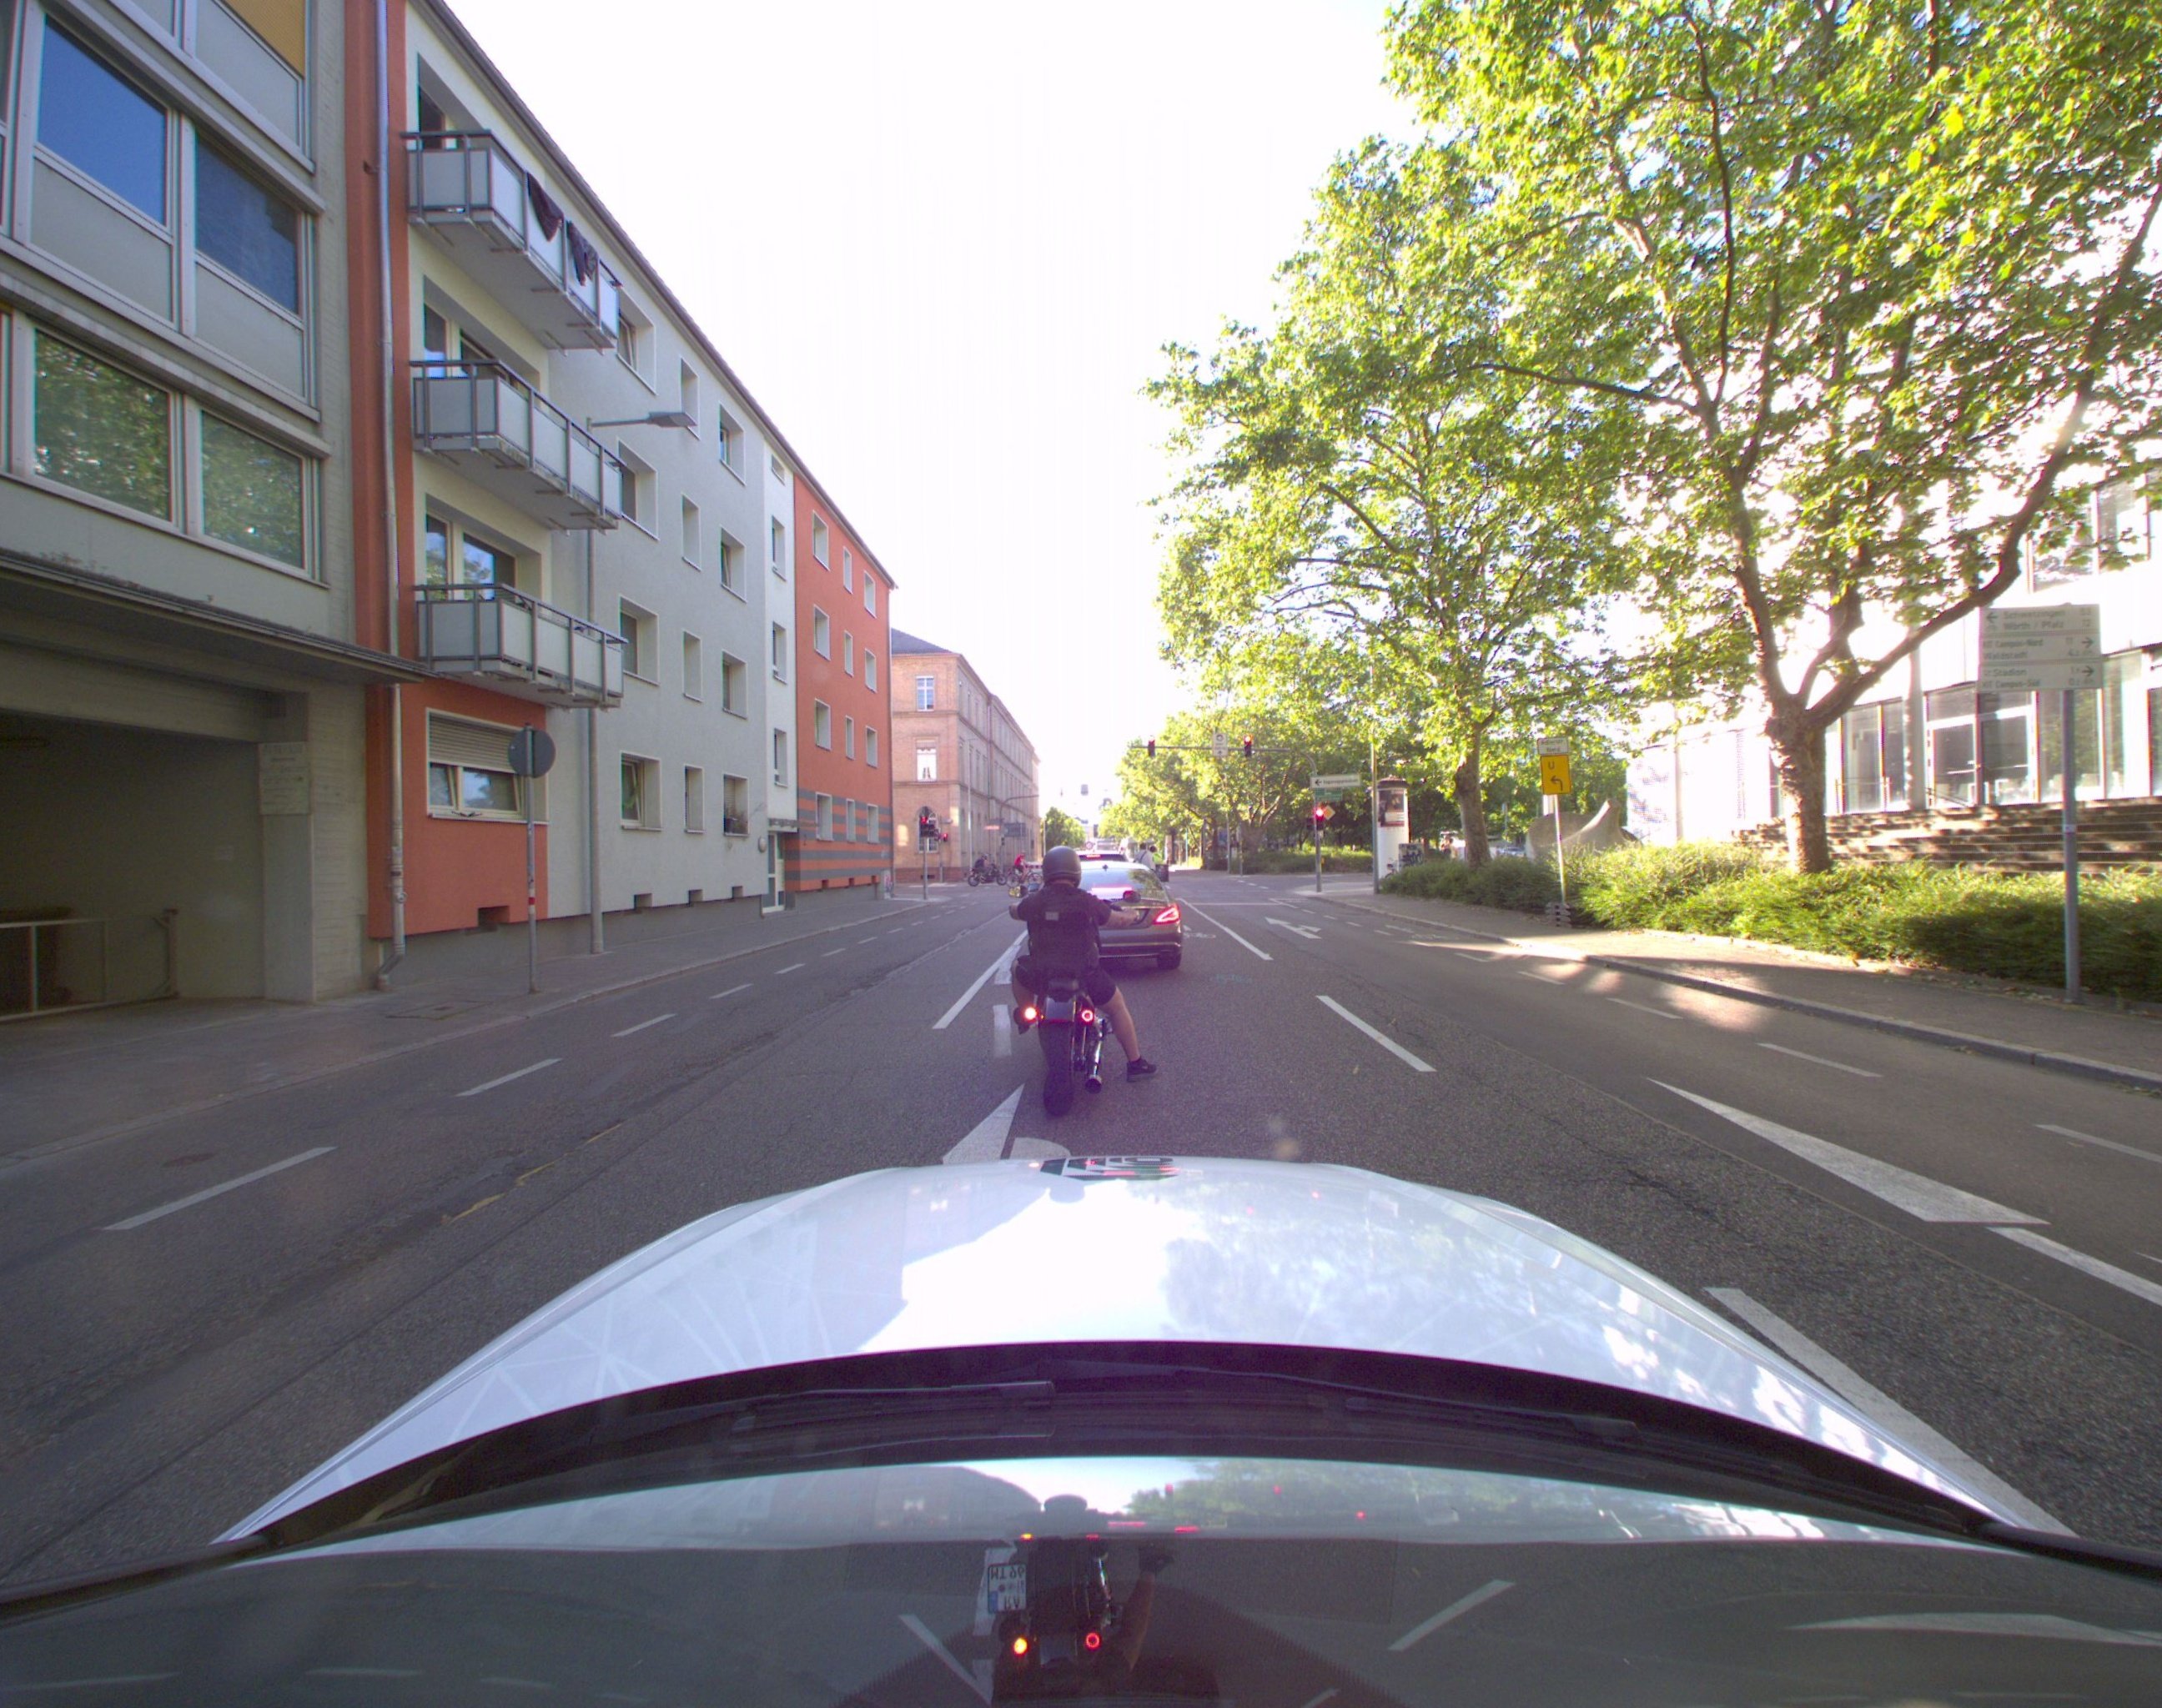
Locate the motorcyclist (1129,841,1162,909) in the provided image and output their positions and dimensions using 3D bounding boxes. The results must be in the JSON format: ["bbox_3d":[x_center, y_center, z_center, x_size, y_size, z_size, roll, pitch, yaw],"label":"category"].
[{"bbox_3d":[1.739,0.557,22.039,0.828,1.788,0.913,0,-1,1],"label":"motorcyclist"}]

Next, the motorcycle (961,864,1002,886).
[{"bbox_3d":[-5.103,1.076,41.868,2.080,1.097,0.626,0,-1,-10],"label":"motorcycle"}]

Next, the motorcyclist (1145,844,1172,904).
[{"bbox_3d":[2.299,0.589,24.227,0.714,1.743,0.751,0,-1,1],"label":"motorcyclist"}]

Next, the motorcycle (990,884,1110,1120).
[{"bbox_3d":[-0.138,0.859,5.546,0.657,1.240,2.058,0,-1,2],"label":"motorcycle"}]

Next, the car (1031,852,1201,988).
[{"bbox_3d":[0.264,0.749,11.249,1.821,1.486,4.325,0,-1,-5],"label":"car"}]

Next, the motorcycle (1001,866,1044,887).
[{"bbox_3d":[-2.767,1.063,38.711,2.004,0.962,0.581,0,-1,2],"label":"motorcycle"}]

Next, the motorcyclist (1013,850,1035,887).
[{"bbox_3d":[-2.712,0.679,38.719,0.981,1.722,0.551,0,-1,2],"label":"motorcyclist"}]

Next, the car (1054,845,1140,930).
[{"bbox_3d":[0.379,0.670,17.821,1.645,1.652,4.002,0,-1,2],"label":"car"}]

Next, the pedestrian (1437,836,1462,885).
[{"bbox_3d":[13.990,0.244,30.937,0.645,1.827,0.667,-1,0,1],"label":"pedestrian"}]

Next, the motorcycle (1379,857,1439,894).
[{"bbox_3d":[11.074,0.716,27.549,1.771,1.243,0.724,0,-1,7],"label":"motorcycle"}]

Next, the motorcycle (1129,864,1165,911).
[{"bbox_3d":[1.735,0.864,21.601,0.859,1.168,1.930,0,-1,2],"label":"motorcycle"}]

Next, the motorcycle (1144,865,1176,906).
[{"bbox_3d":[2.307,0.908,24.130,0.794,1.131,2.237,0,-1,2],"label":"motorcycle"}]

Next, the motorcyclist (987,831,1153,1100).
[{"bbox_3d":[-0.050,0.675,5.453,0.986,1.611,1.121,0,-1,1],"label":"motorcyclist"}]

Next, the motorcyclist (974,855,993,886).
[{"bbox_3d":[-5.008,0.842,41.944,0.940,1.537,0.643,0,-1,-10],"label":"motorcyclist"}]

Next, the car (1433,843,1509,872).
[{"bbox_3d":[24.632,0.211,51.529,3.974,1.772,1.738,-1,0,-1],"label":"car"}]
